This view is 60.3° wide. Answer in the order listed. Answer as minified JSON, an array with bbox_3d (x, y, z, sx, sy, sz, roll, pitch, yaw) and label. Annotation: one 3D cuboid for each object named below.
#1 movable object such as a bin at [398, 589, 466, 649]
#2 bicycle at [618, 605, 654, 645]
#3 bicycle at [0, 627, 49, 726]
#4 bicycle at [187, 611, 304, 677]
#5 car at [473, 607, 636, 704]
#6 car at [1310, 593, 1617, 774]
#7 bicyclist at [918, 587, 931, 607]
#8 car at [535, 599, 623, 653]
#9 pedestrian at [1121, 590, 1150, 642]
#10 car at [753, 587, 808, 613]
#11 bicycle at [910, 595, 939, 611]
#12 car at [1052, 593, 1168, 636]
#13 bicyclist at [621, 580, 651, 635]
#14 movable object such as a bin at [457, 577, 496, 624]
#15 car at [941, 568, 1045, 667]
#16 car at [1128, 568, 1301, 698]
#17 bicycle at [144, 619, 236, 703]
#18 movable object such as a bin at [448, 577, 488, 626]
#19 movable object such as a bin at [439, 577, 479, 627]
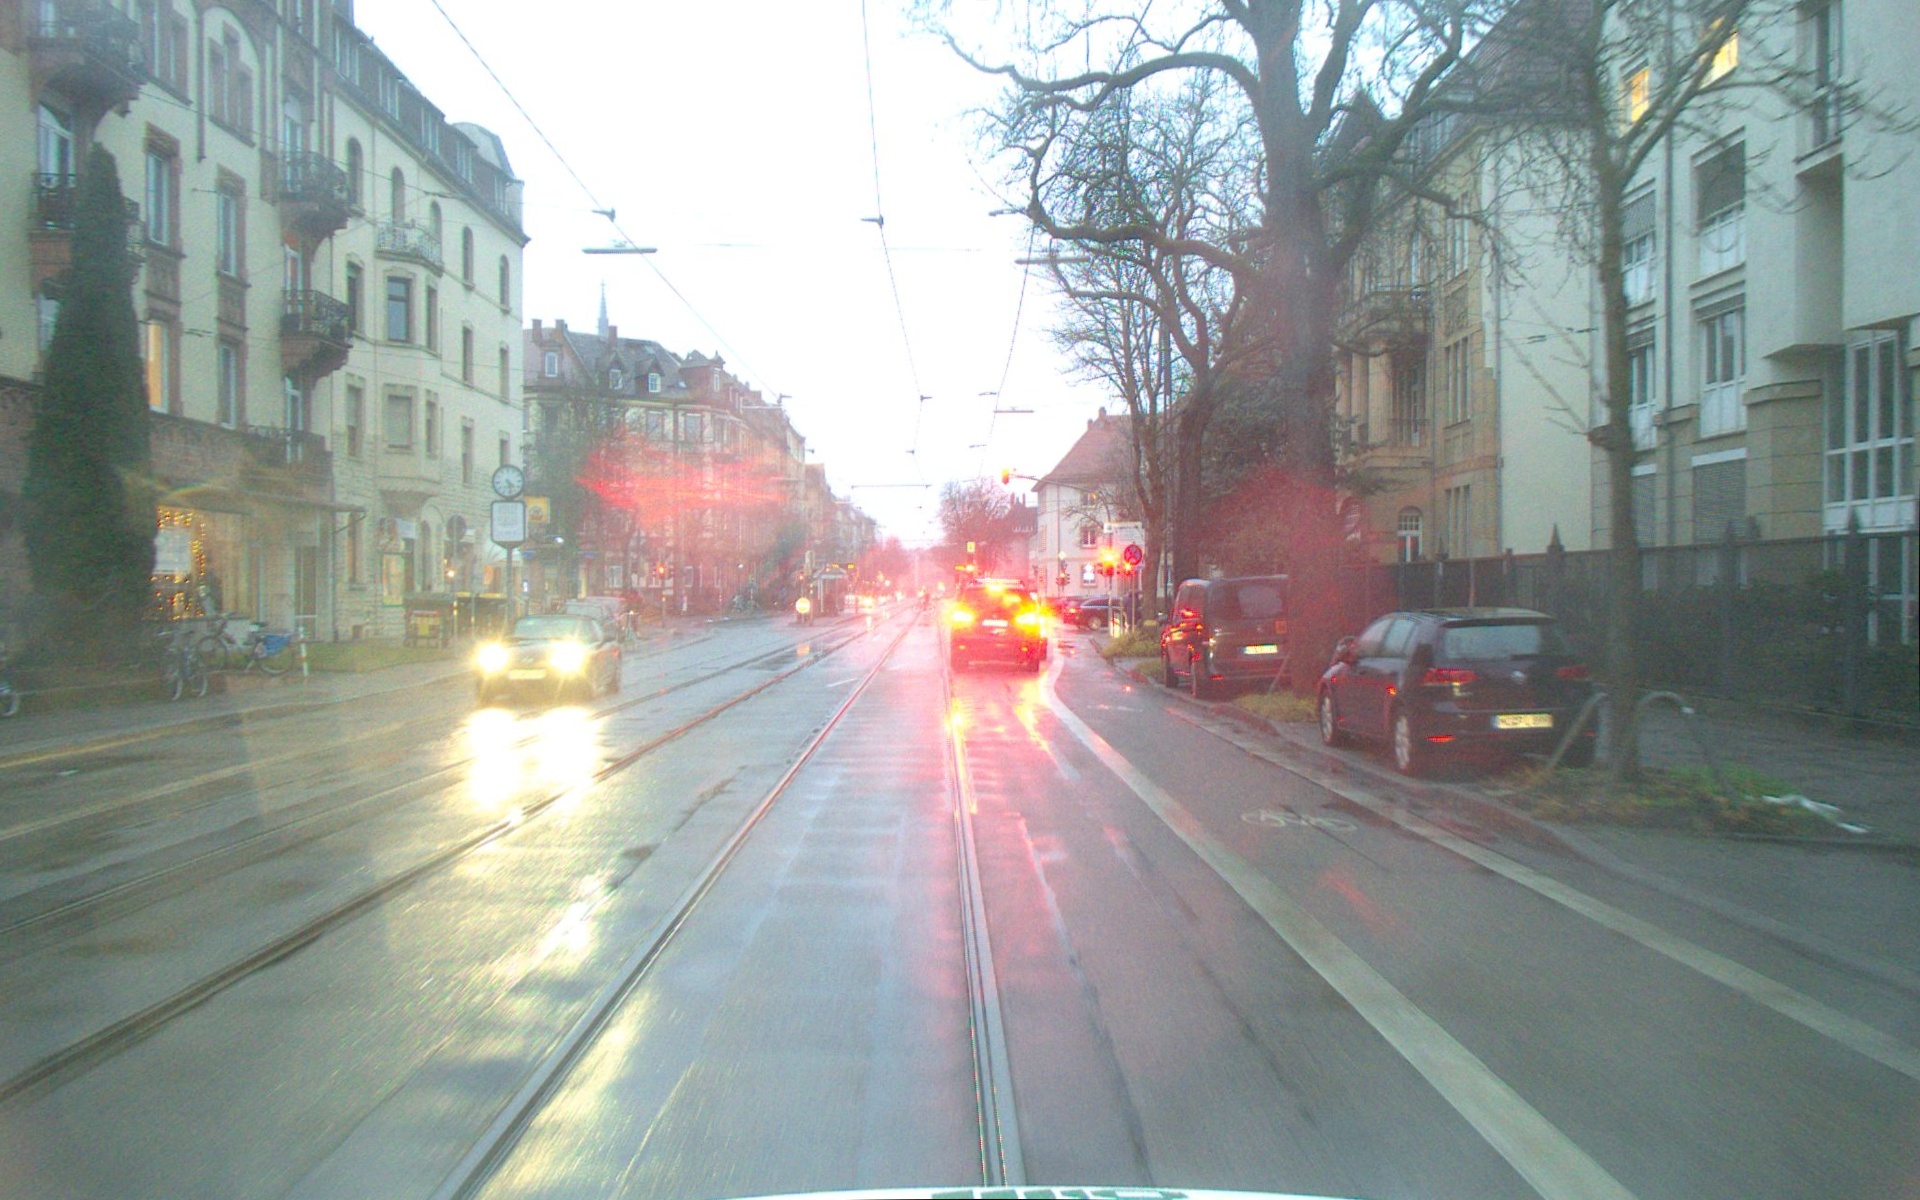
[{"bbox_3d":[-14.227,0.496,44.631,1.380,1.557,1.364,-1,1,-1],"label":"movable object such as a bin"},{"bbox_3d":[-9.839,0.744,50.306,0.701,1.130,2.064,-1,1,-1],"label":"bicycle"},{"bbox_3d":[-10.676,0.850,17.941,0.613,1.035,1.805,-1,1,-2],"label":"bicycle"},{"bbox_3d":[-12.611,0.776,29.237,1.771,1.099,0.615,-1,1,-8],"label":"bicycle"},{"bbox_3d":[-5.997,0.774,24.846,1.627,1.219,3.873,-1,1,-2],"label":"car"},{"bbox_3d":[4.725,0.701,16.119,1.643,1.485,4.041,-1,1,-2],"label":"car"},{"bbox_3d":[-2.636,-0.226,122.546,0.808,1.400,0.555,-1,1,-15],"label":"bicyclist"},{"bbox_3d":[-11.537,0.744,50.340,1.796,1.472,4.000,-1,1,-1],"label":"car"},{"bbox_3d":[7.018,0.633,66.085,1.002,2.049,0.918,-1,1,-4],"label":"pedestrian"},{"bbox_3d":[-13.104,-0.012,120.662,3.914,1.747,1.900,-1,1,-9],"label":"car"},{"bbox_3d":[-2.647,0.211,122.551,2.069,1.153,0.555,-1,1,-15],"label":"bicycle"},{"bbox_3d":[6.662,0.637,73.360,4.873,1.747,1.687,-1,1,-21],"label":"car"},{"bbox_3d":[-9.859,0.217,50.379,0.701,1.630,0.931,-1,1,-1],"label":"bicyclist"},{"bbox_3d":[-16.940,0.016,57.956,0.993,1.628,1.081,-1,1,1],"label":"movable object such as a bin"},{"bbox_3d":[0.628,0.374,35.187,1.953,1.930,4.757,1,-1,-2],"label":"car"},{"bbox_3d":[4.113,0.448,27.583,1.953,1.933,5.026,-1,1,-2],"label":"car"},{"bbox_3d":[-10.997,0.851,23.682,0.602,1.099,1.809,-1,1,-5],"label":"bicycle"},{"bbox_3d":[-16.888,0.038,56.768,0.993,1.628,1.155,-1,1,1],"label":"movable object such as a bin"},{"bbox_3d":[-16.809,0.058,55.520,0.993,1.628,1.081,-1,1,1],"label":"movable object such as a bin"}]
